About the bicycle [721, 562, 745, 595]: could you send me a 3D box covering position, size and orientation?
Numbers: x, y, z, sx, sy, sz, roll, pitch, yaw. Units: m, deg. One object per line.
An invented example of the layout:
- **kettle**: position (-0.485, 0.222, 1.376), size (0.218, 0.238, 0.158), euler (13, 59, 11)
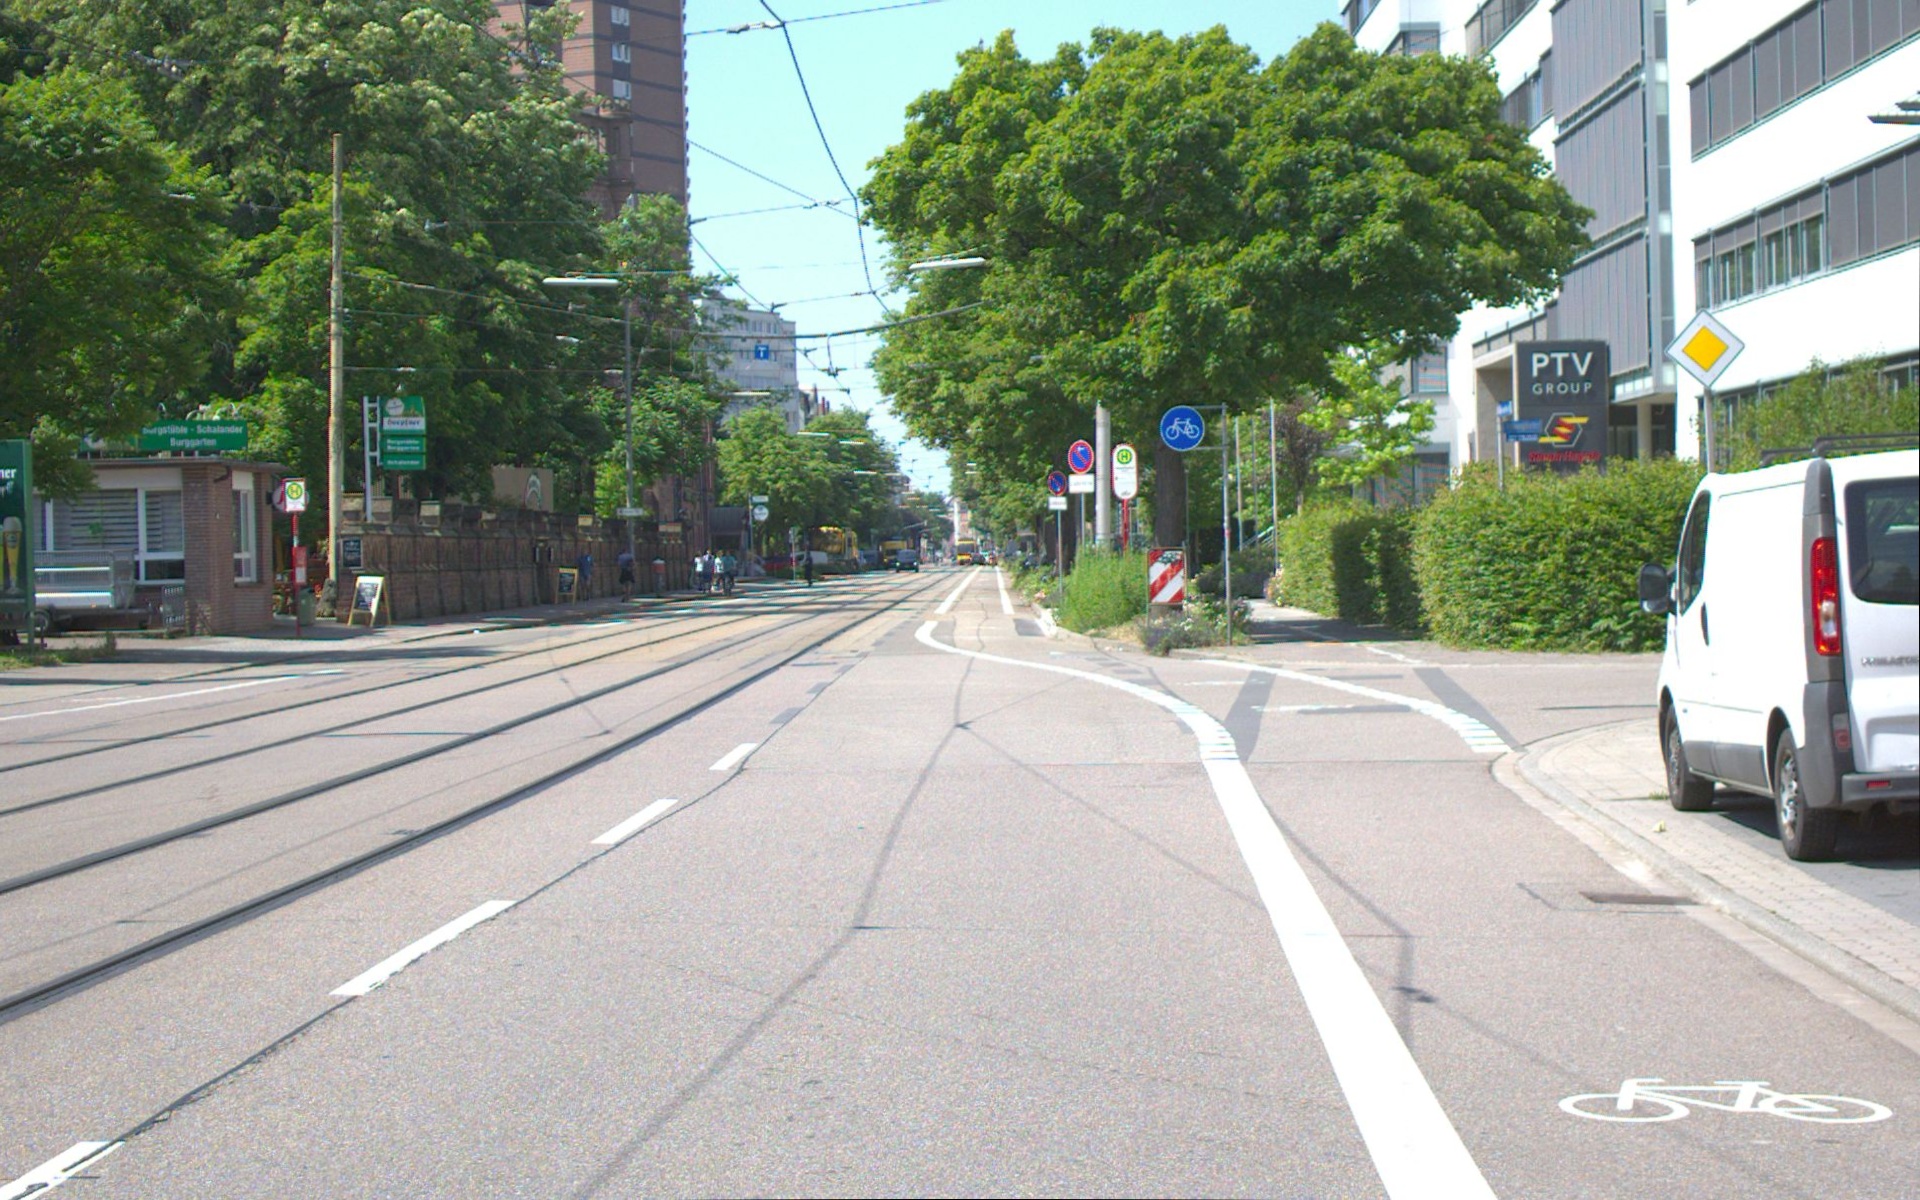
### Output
- **bicycle**: position (-8.586, -0.805, 130.030), size (0.701, 1.200, 2.240), euler (-3, 1, 0)

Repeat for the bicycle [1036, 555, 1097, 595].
- **bicycle**: position (3.152, -0.737, 101.538), size (1.752, 1.161, 0.530), euler (-1, 1, -2)

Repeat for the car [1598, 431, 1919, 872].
- **car**: position (4.936, 0.142, 18.403), size (1.993, 1.985, 5.514), euler (-3, 1, 1)

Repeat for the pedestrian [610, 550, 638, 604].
- **pedestrian**: position (-11.040, -0.764, 112.958), size (0.814, 1.764, 0.924), euler (-1, 1, 0)

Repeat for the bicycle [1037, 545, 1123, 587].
- **bicycle**: position (3.573, -1.009, 102.629), size (2.511, 1.205, 0.648), euler (-1, 1, 5)

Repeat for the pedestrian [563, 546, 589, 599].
- **pedestrian**: position (-12.681, -0.900, 113.461), size (0.743, 1.722, 0.867), euler (-1, 1, 0)

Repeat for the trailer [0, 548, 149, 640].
- **trailer**: position (-17.000, -0.120, 65.134), size (2.830, 1.698, 1.621), euler (-1, 1, 2)

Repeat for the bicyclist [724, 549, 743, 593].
- **bicyclist**: position (-8.588, -1.098, 130.224), size (0.642, 1.674, 0.815), euler (-1, 1, -2)
